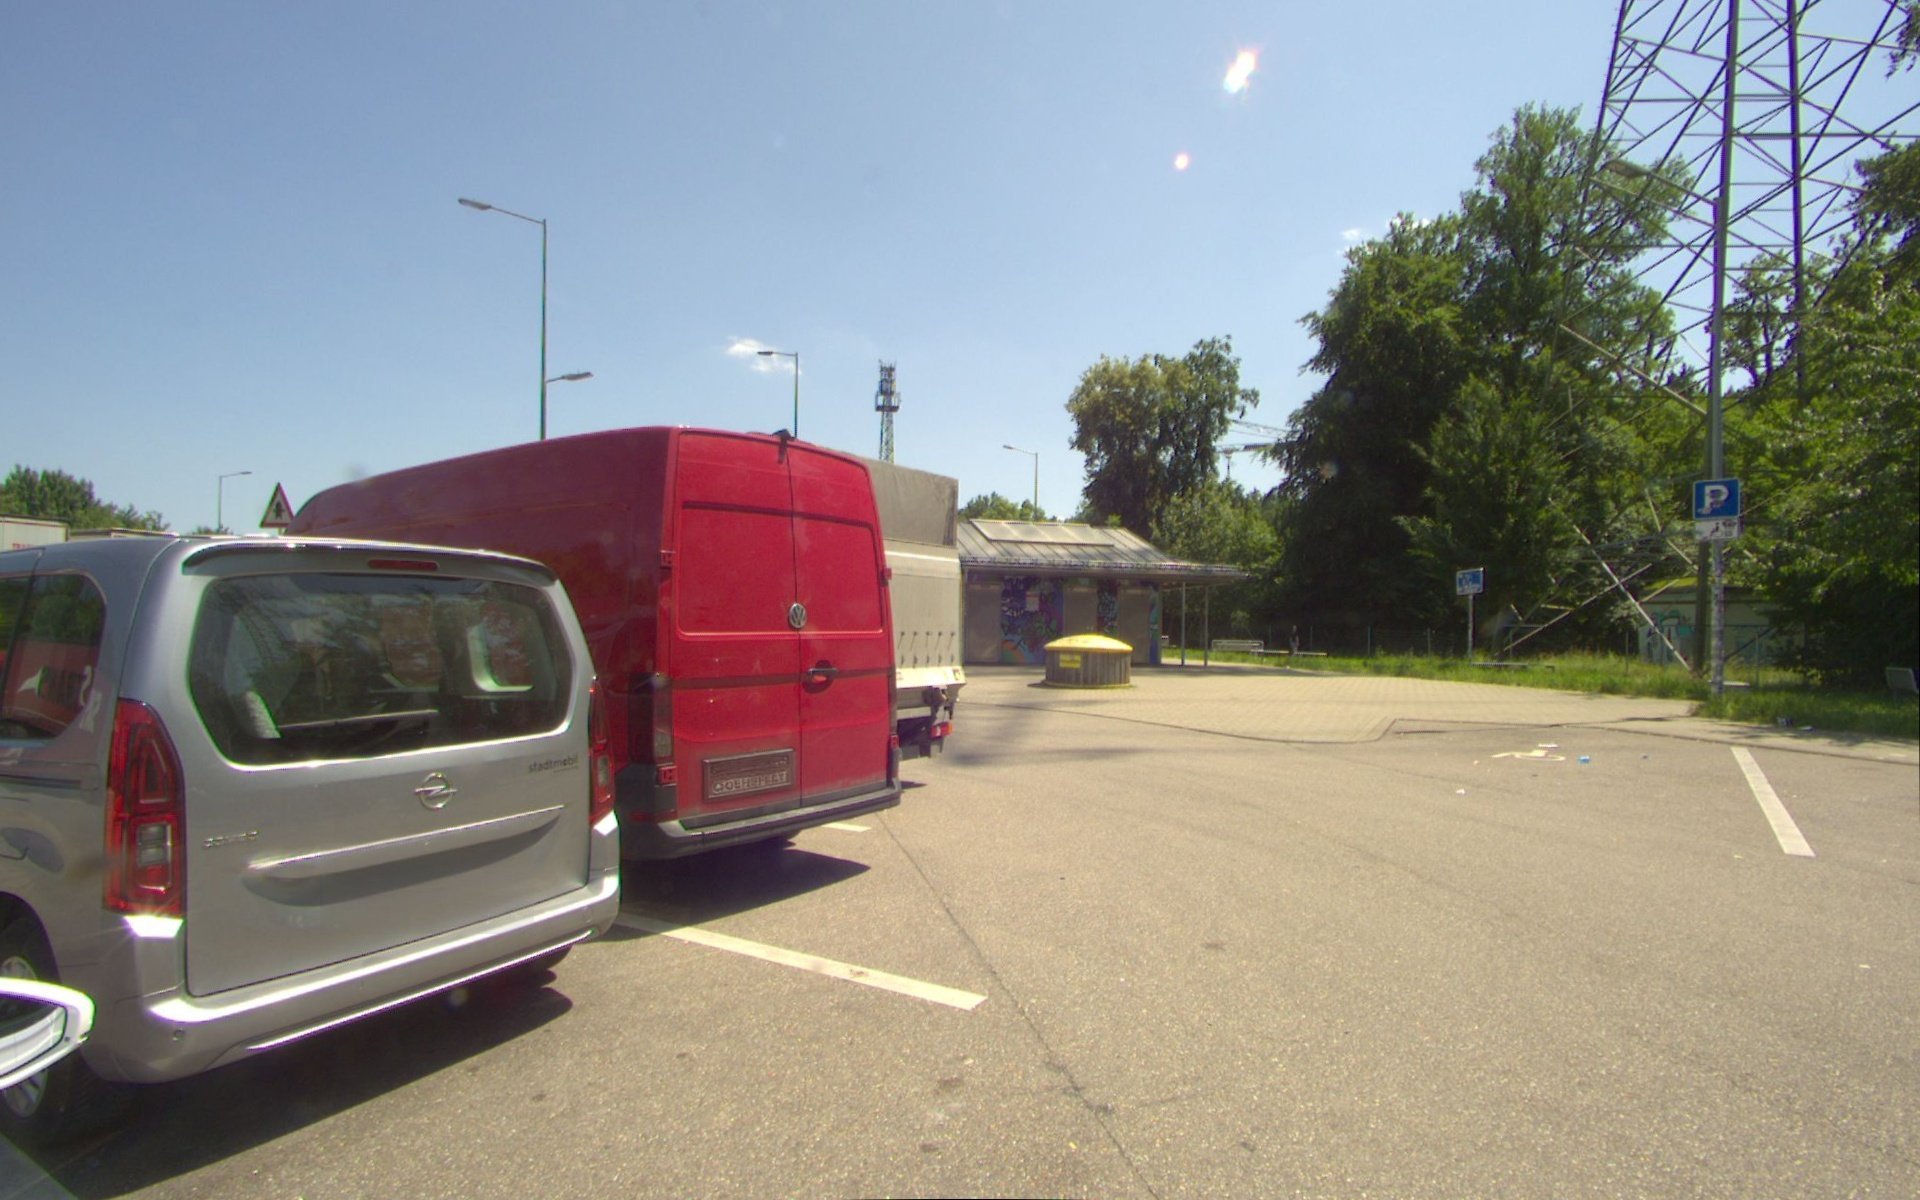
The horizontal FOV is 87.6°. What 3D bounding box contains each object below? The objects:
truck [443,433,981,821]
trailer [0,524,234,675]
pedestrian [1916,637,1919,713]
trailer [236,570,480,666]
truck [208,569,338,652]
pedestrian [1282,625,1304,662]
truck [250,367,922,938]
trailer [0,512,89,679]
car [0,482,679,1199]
[{"bbox_3d":[-2.749,0.305,10.297,5.582,2.949,2.449,-2,-2,37],"label":"truck"},{"bbox_3d":[-27.964,-0.101,31.797,14.184,4.040,2.808,2,-2,33],"label":"trailer"},{"bbox_3d":[17.247,1.323,17.487,0.690,1.352,0.561,-1,-1,33],"label":"pedestrian"},{"bbox_3d":[-26.110,0.647,42.913,14.184,3.552,2.808,2,-2,33],"label":"trailer"},{"bbox_3d":[-32.105,0.468,46.770,5.813,3.566,2.799,2,-2,33],"label":"truck"},{"bbox_3d":[15.187,1.971,45.683,0.723,1.658,0.792,0,-1,-4],"label":"pedestrian"},{"bbox_3d":[-2.900,0.338,7.058,5.238,2.655,1.972,-2,-2,38],"label":"truck"},{"bbox_3d":[-29.027,-0.259,28.151,14.184,4.040,2.808,2,-2,33],"label":"trailer"},{"bbox_3d":[-3.393,0.688,4.259,4.113,1.887,1.868,1,-2,31],"label":"car"}]
